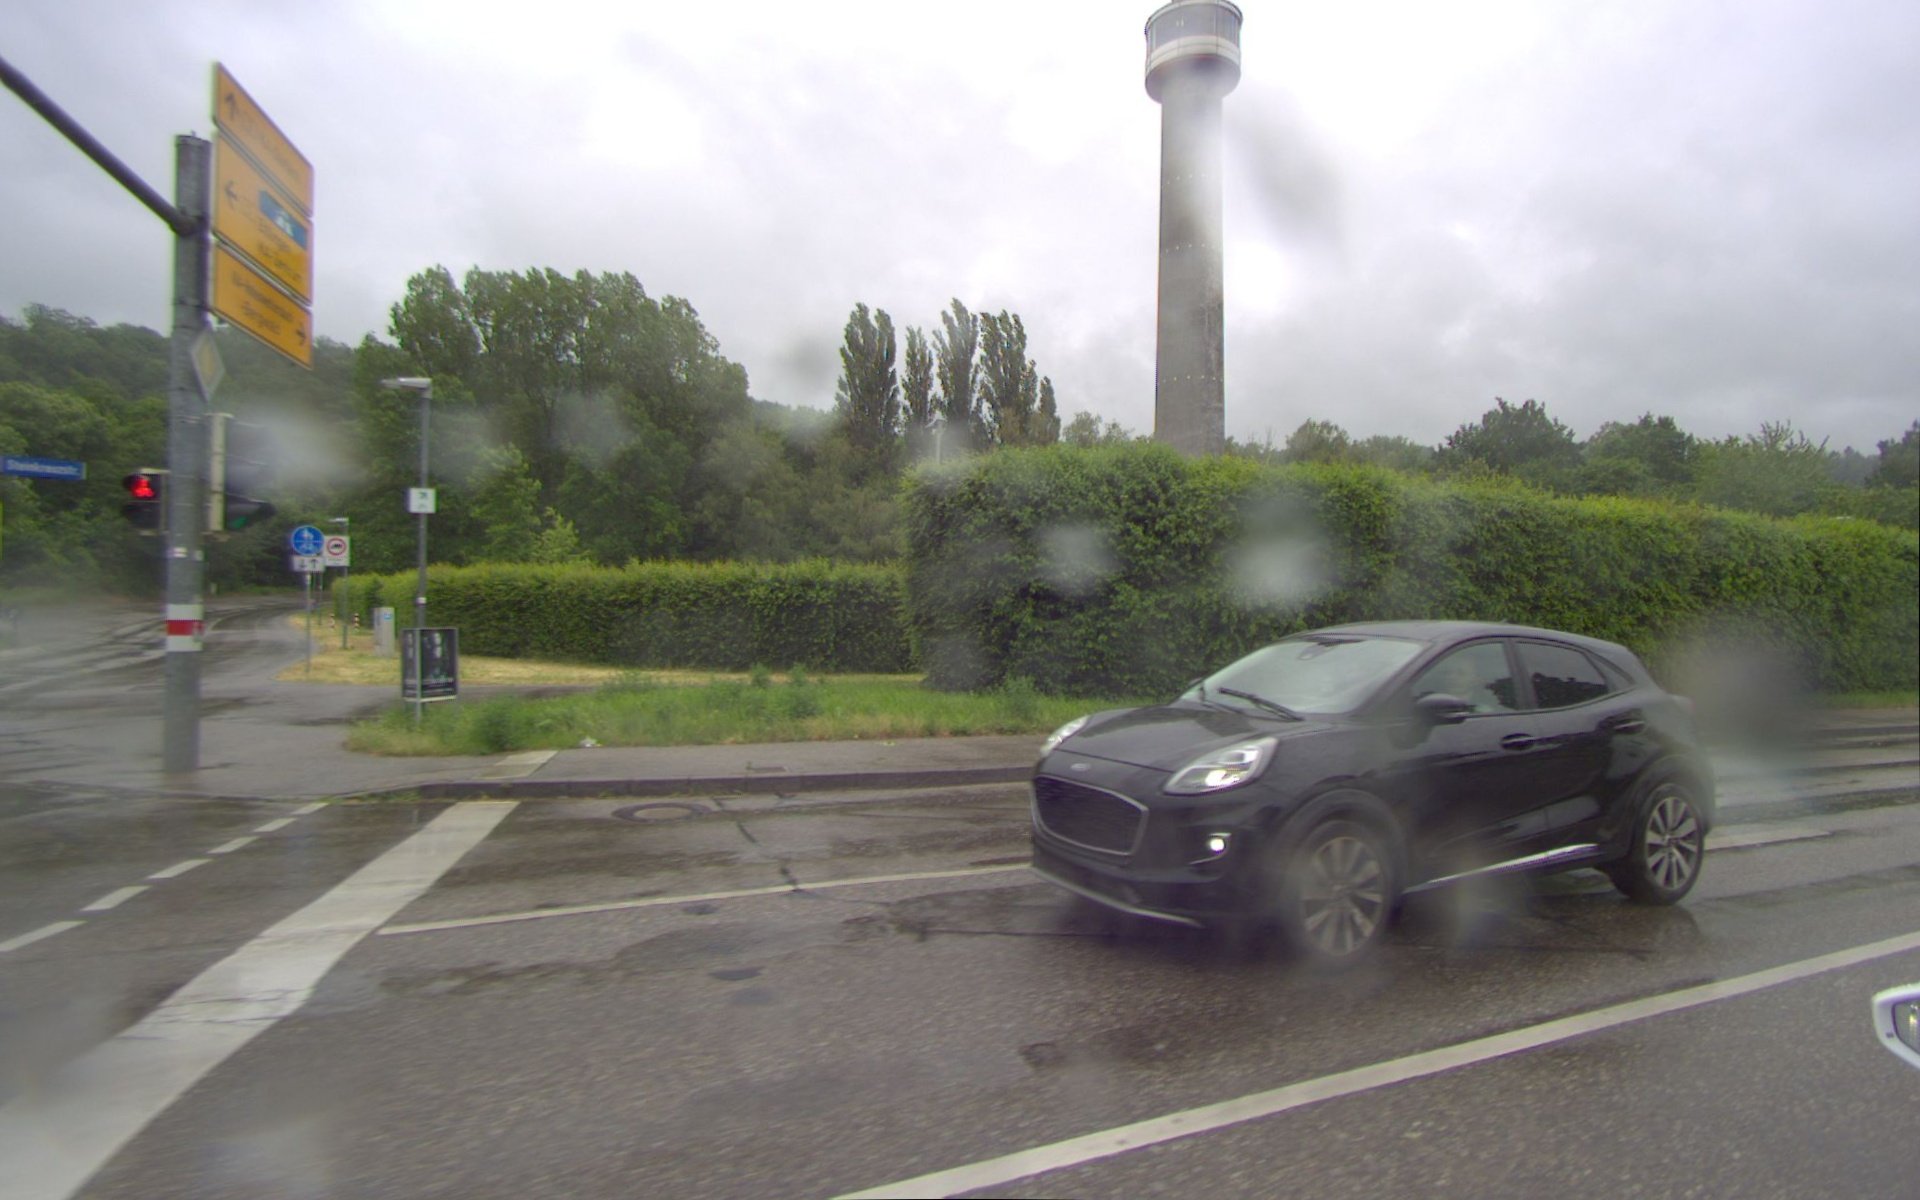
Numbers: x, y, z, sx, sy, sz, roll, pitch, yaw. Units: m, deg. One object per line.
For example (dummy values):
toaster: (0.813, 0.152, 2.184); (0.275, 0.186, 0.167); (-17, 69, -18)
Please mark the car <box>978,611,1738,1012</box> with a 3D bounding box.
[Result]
car: (2.274, 0.850, 5.572); (4.010, 1.525, 1.778); (1, -1, -28)
